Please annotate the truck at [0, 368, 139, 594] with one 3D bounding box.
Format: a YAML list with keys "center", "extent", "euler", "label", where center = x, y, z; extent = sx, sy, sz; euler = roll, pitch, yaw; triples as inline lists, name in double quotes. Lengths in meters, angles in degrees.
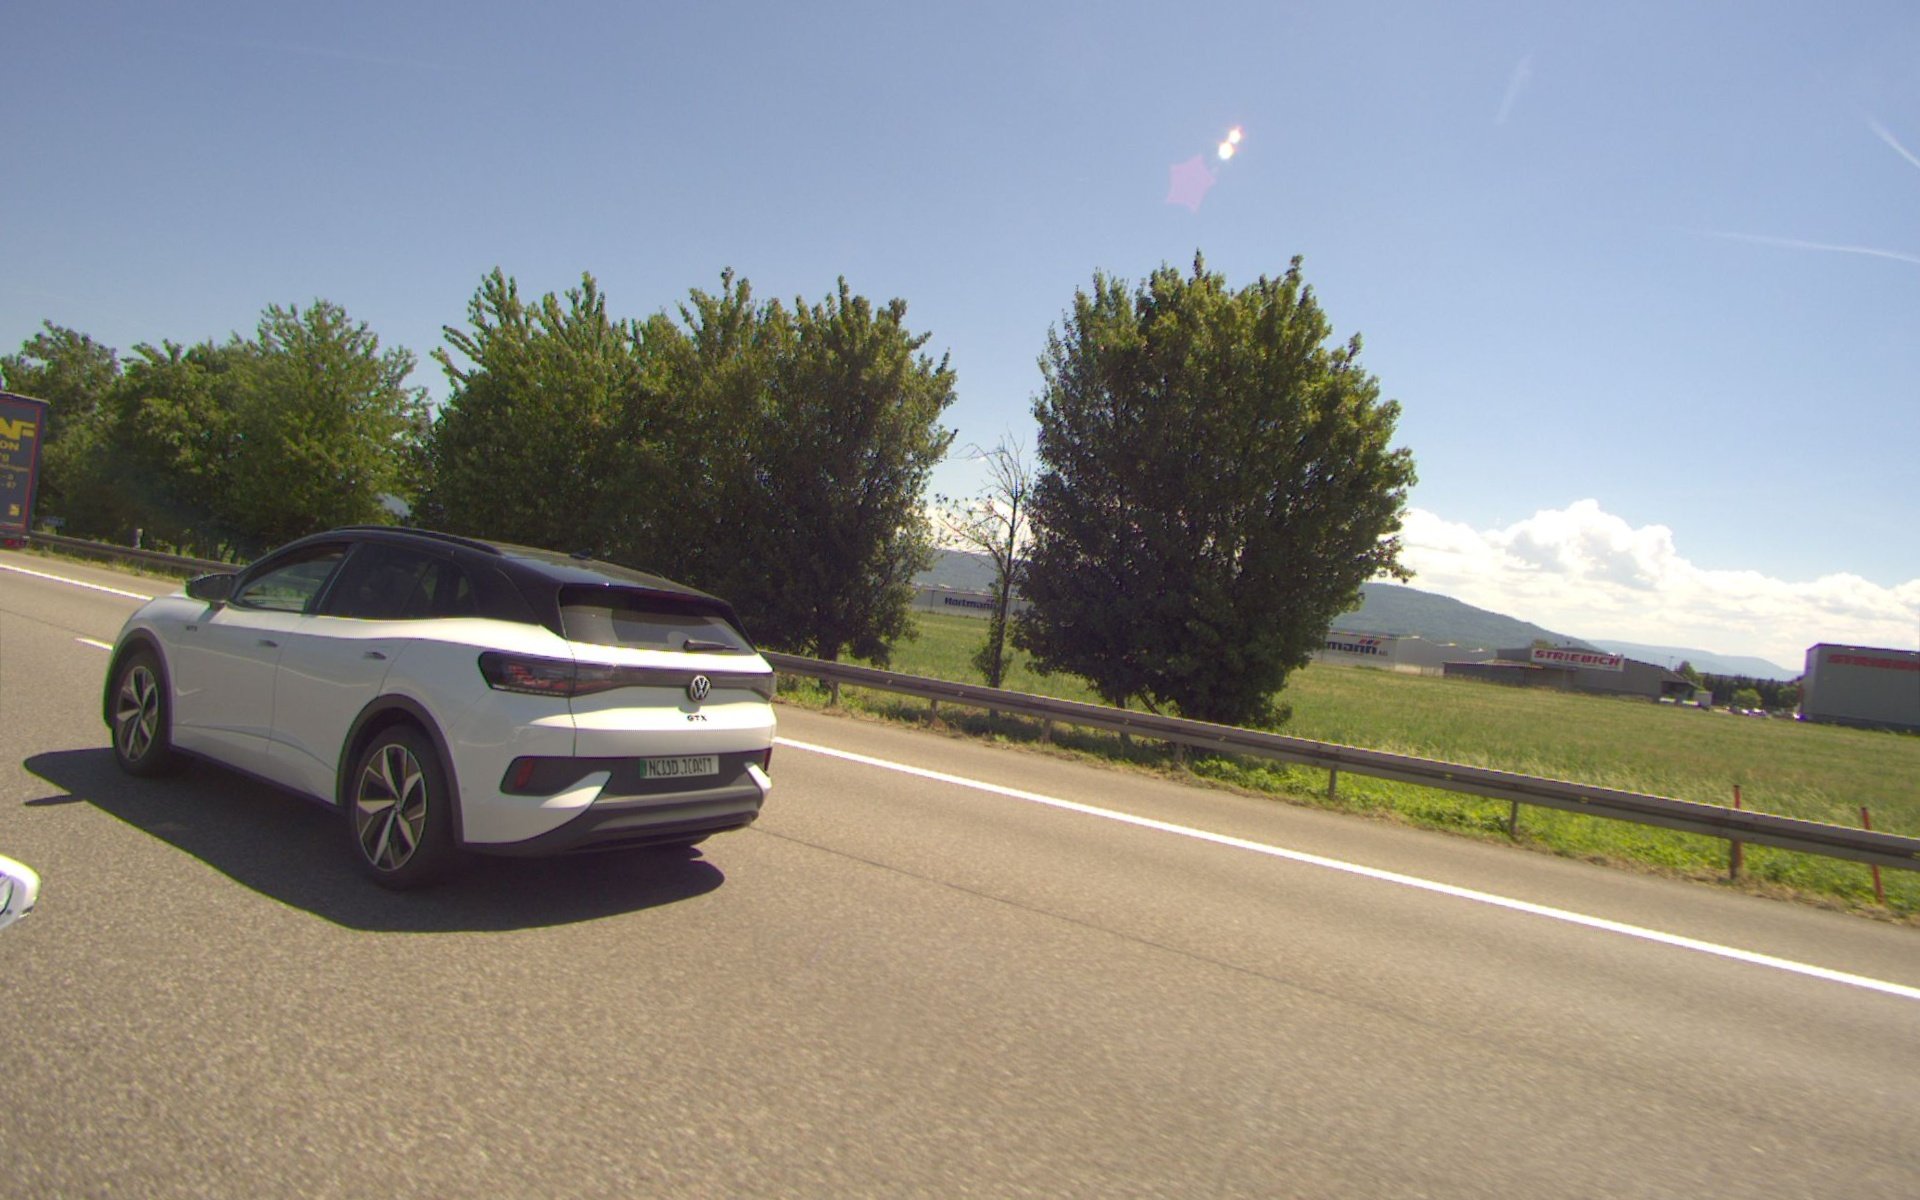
- center: [-25.062, -3.111, 24.216]
  extent: [15.254, 4.187, 3.115]
  euler: [7, -2, 32]
  label: "truck"

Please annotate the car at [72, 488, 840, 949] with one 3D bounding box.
- center: [-3.031, 0.420, 5.785]
  extent: [4.308, 1.621, 1.806]
  euler: [7, -2, 31]
  label: "car"
